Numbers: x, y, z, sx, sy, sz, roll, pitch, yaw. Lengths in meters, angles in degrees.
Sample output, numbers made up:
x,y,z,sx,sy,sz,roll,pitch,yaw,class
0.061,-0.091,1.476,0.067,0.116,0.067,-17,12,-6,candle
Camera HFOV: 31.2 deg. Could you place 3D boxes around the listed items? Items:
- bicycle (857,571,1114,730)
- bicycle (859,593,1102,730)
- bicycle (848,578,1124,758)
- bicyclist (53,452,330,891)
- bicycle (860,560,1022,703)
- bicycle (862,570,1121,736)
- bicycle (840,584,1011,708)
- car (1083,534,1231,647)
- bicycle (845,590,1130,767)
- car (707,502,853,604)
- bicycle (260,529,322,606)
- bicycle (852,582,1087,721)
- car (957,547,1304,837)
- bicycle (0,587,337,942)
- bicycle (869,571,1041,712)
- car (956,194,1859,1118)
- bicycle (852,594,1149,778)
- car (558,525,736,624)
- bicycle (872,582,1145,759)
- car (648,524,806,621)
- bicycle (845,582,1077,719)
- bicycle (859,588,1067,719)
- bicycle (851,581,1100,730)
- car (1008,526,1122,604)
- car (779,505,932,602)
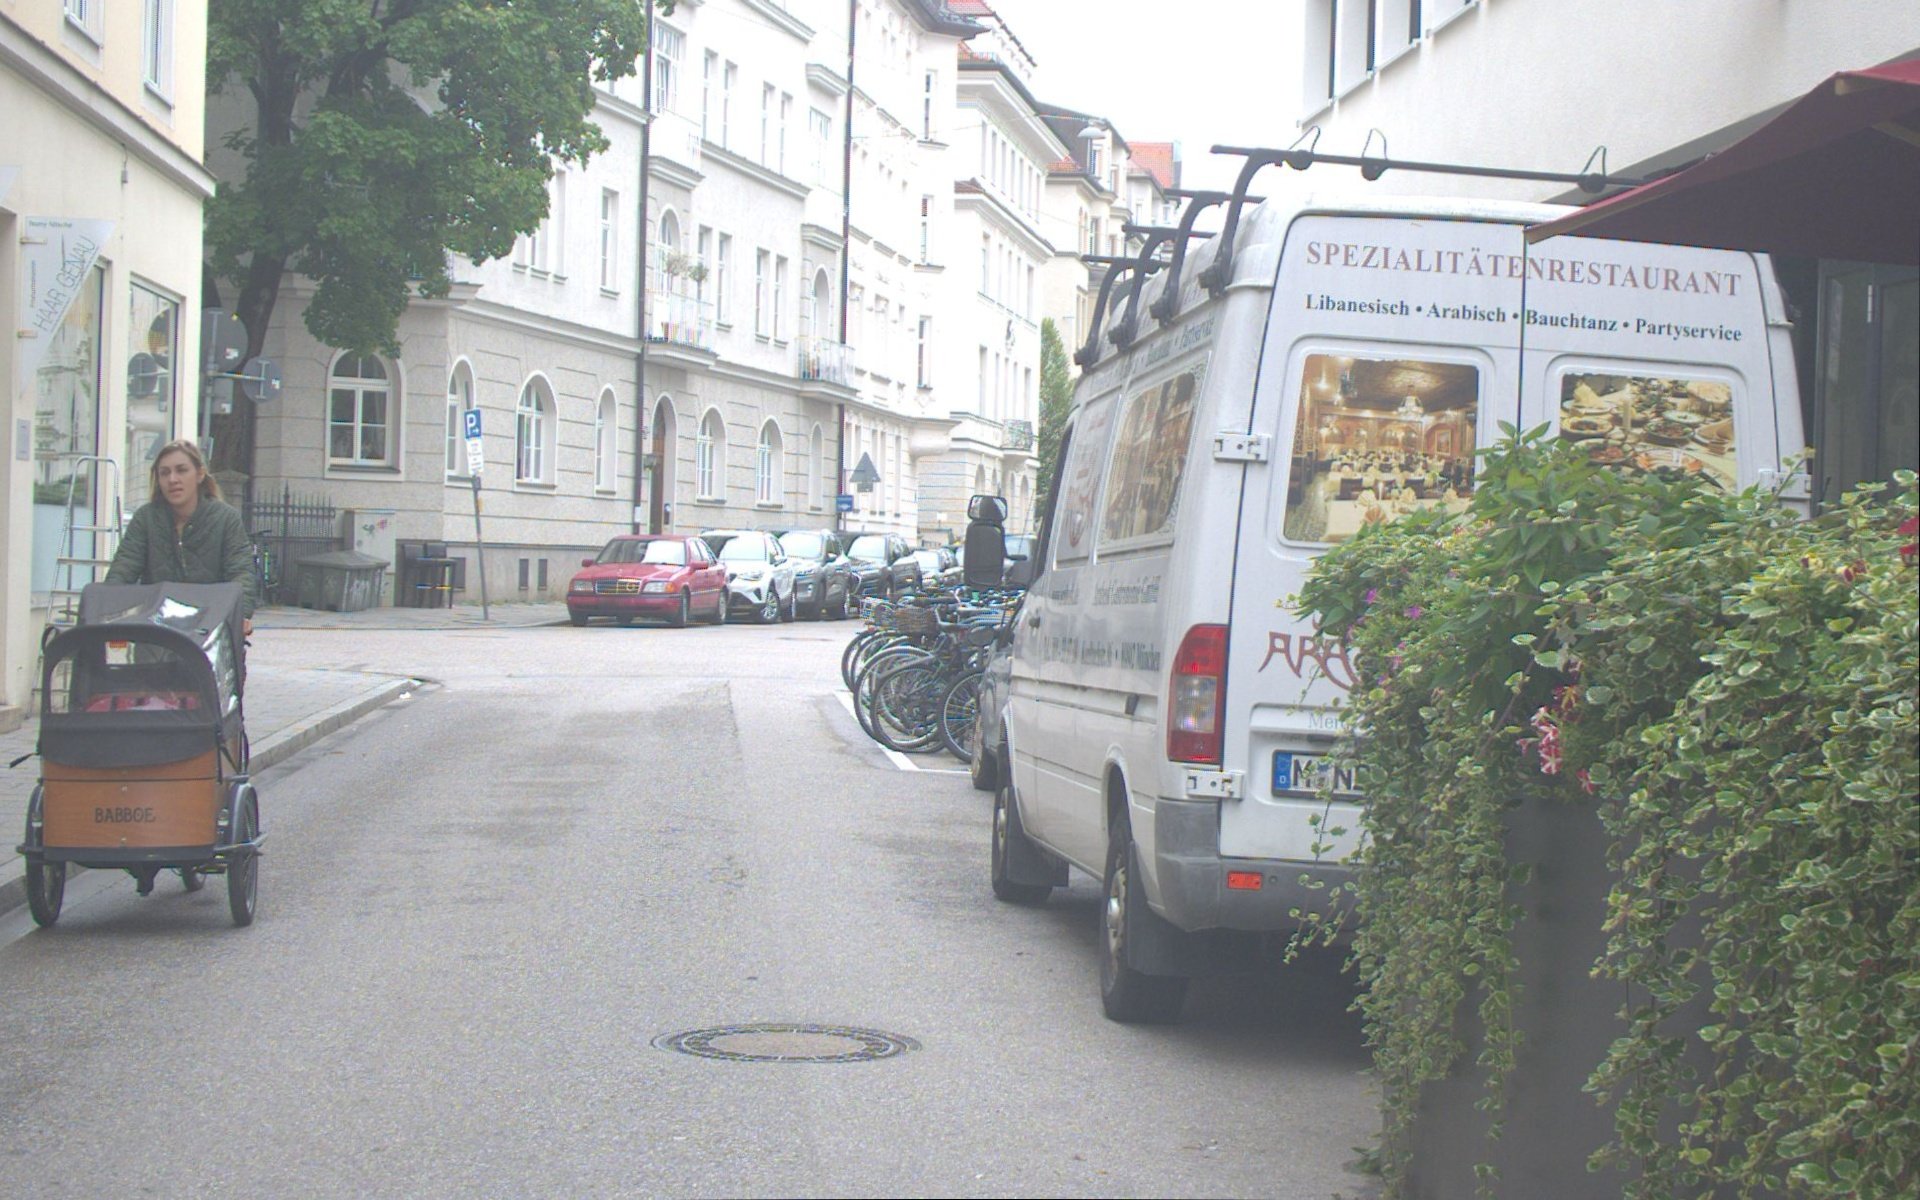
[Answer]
x,y,z,sx,sy,sz,roll,pitch,yaw,class
0.189,0.387,26.409,1.893,1.166,0.566,1,1,-6,bicycle
0.162,0.493,27.677,1.873,1.048,0.564,2,-1,-7,bicycle
0.175,0.479,24.381,1.873,1.200,0.488,2,2,-6,bicycle
-3.111,0.271,14.012,0.926,1.715,1.100,1,1,-3,bicyclist
-0.180,0.292,32.282,1.456,1.281,0.445,2,1,-3,bicycle
0.231,0.394,25.801,1.873,1.200,0.580,1,1,-6,bicycle
-0.318,0.419,31.264,1.450,1.066,0.463,2,1,-11,bicycle
3.228,-0.176,55.558,1.821,1.630,4.287,4,1,10,car
0.184,0.543,23.862,1.873,1.104,0.488,3,2,-6,bicycle
-3.195,-0.840,61.644,1.943,1.696,3.999,3,1,6,car
-9.813,-0.488,50.468,0.493,1.049,1.827,2,3,1,bicycle
0.074,0.423,28.369,1.873,1.076,0.402,2,2,-7,bicycle
0.896,0.460,19.890,1.580,1.459,3.552,2,1,-3,car
-3.079,0.587,13.557,0.932,1.253,2.414,1,1,-3,bicycle
-0.046,0.370,30.828,1.450,1.203,0.395,2,1,-11,bicycle
1.257,0.099,12.611,1.920,2.497,5.998,3,1,-5,car
0.262,0.571,22.978,1.873,1.076,0.488,4,2,-6,bicycle
-4.688,-0.398,52.045,1.731,1.373,4.225,2,1,8,car
0.349,0.511,25.077,1.873,1.153,0.565,3,2,-6,bicycle
-3.811,-0.465,56.899,1.994,1.468,4.218,2,1,4,car
0.006,0.423,28.805,1.873,1.076,0.408,2,2,-7,bicycle
0.021,0.464,30.049,1.740,1.076,0.452,2,2,-7,bicycle
0.118,0.435,26.968,1.873,1.091,0.440,2,2,-7,bicycle
2.324,-0.786,75.062,1.958,1.602,4.307,2,1,8,car
-1.993,-0.899,66.991,1.994,1.732,4.520,3,1,10,car
